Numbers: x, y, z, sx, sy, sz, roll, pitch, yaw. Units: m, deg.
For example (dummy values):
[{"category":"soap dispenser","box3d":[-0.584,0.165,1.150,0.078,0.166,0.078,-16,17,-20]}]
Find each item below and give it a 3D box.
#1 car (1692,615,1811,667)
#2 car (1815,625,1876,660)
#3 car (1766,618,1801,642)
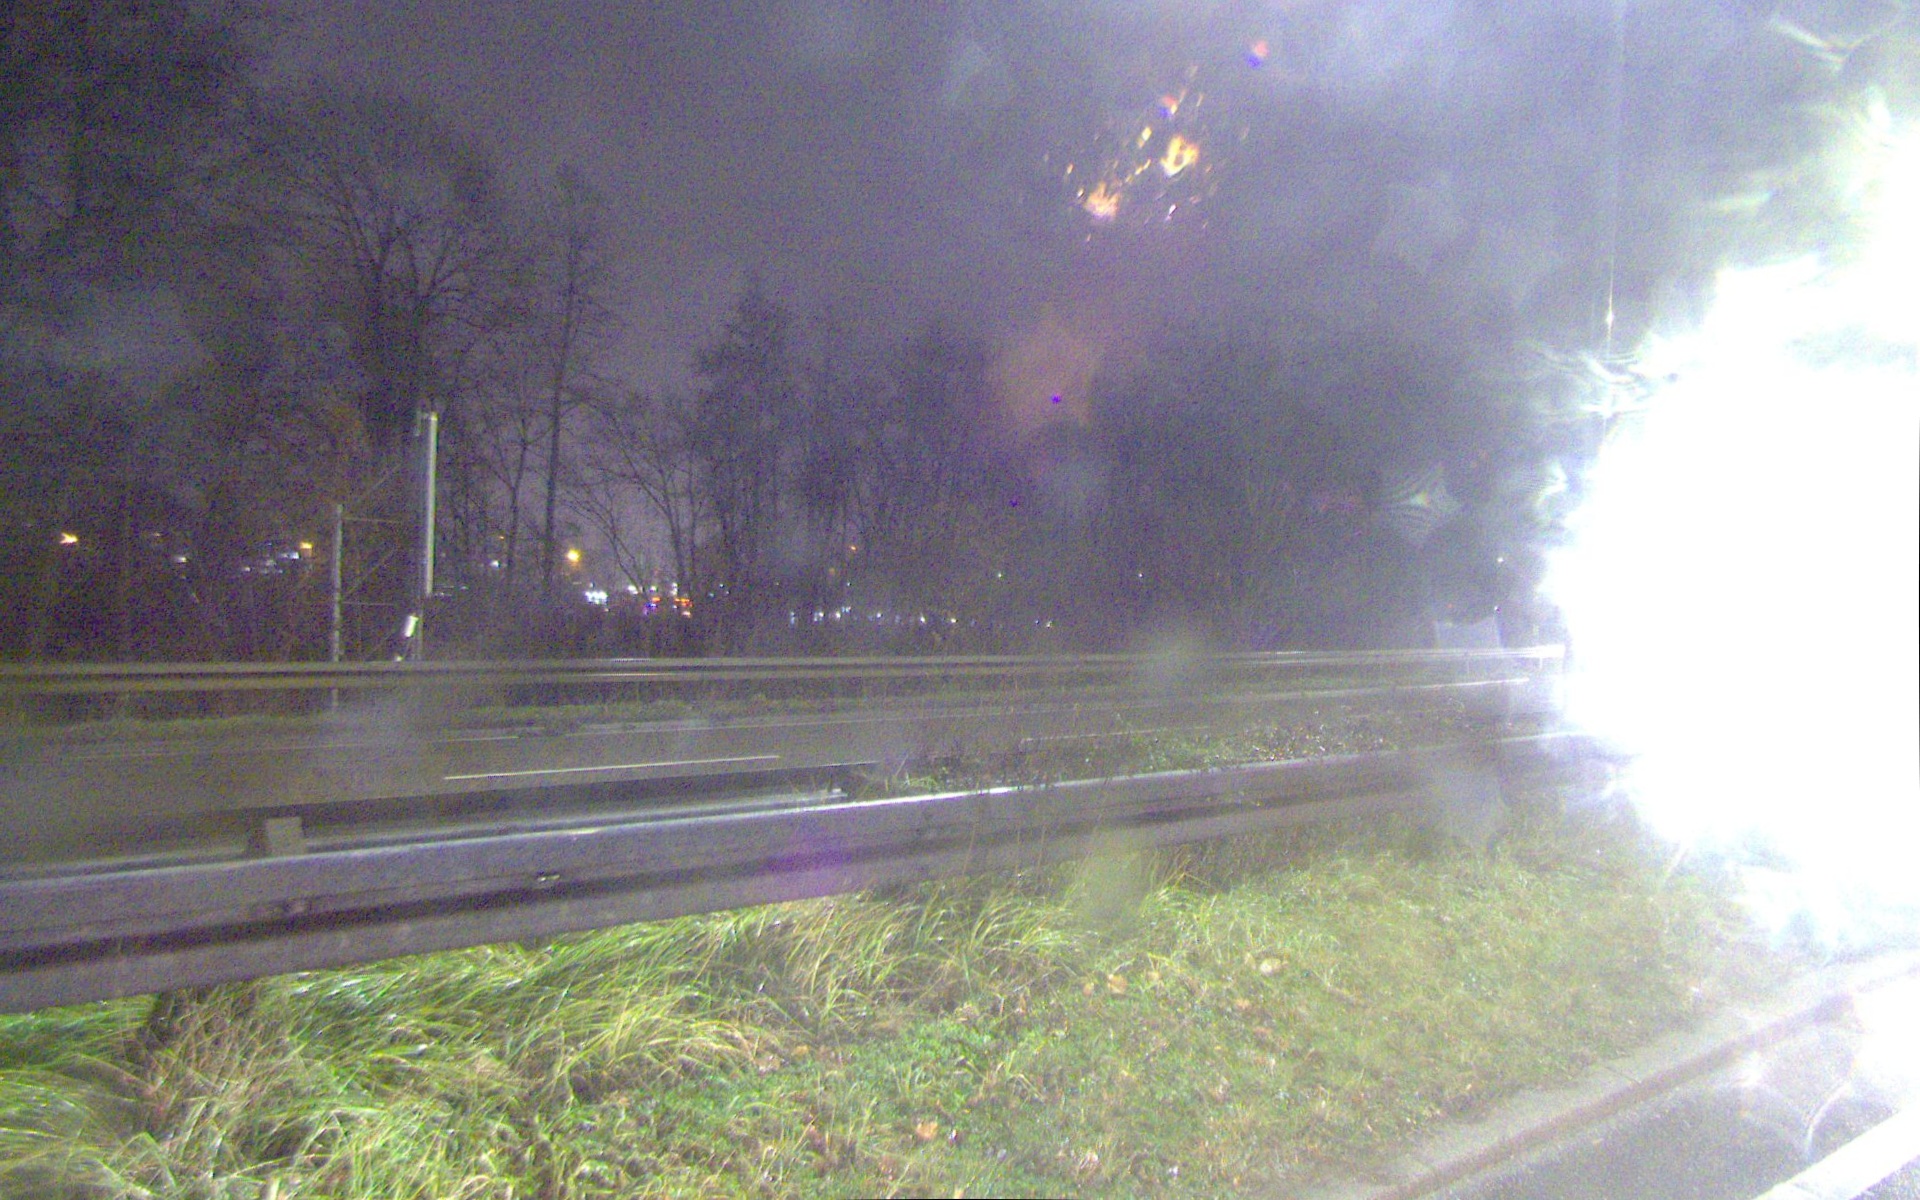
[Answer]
[{"category":"car","box3d":[25.401,1.288,32.170,4.798,1.528,1.978,2,-2,-39]},{"category":"car","box3d":[38.354,1.827,43.467,4.637,1.442,1.694,2,-3,-45]},{"category":"car","box3d":[58.494,2.095,71.390,1.743,1.653,4.233,1,0,38]}]
